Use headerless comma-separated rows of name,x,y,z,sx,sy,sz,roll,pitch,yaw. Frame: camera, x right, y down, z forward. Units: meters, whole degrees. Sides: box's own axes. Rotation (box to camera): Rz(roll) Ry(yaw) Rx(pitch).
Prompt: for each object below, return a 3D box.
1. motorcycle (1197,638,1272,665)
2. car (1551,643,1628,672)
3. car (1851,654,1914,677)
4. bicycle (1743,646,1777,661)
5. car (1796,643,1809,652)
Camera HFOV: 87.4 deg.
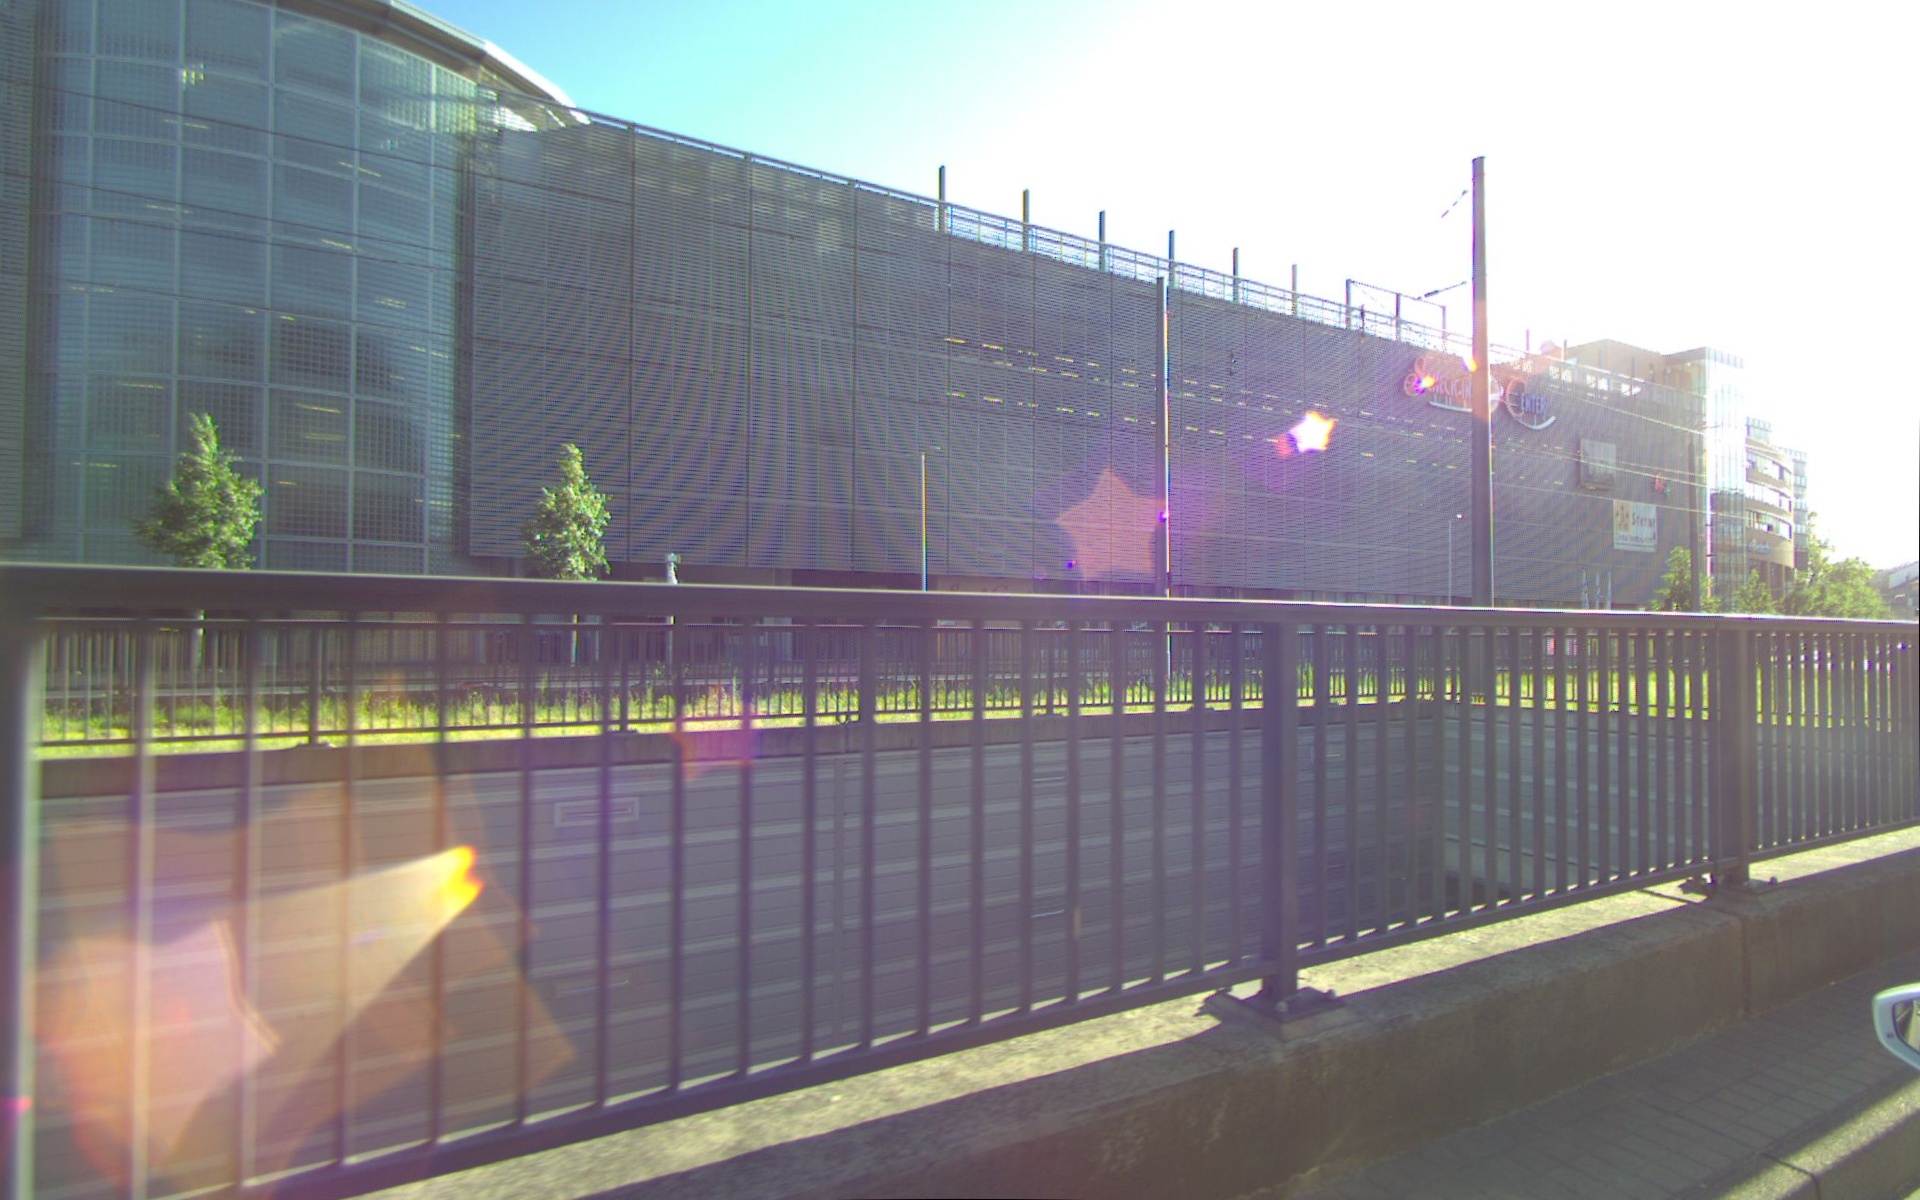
motorcycle,15.788,2.950,57.737,3.953,1.472,1.984,1,-2,-30
car,35.840,3.246,57.154,4.192,1.520,1.985,2,-2,-29
car,67.428,4.776,73.398,4.472,1.566,1.986,1,-2,-27
bicycle,79.246,5.285,99.529,0.891,1.452,2.558,2,-3,-20
car,162.161,9.167,193.341,1.627,1.609,3.350,0,-2,33
